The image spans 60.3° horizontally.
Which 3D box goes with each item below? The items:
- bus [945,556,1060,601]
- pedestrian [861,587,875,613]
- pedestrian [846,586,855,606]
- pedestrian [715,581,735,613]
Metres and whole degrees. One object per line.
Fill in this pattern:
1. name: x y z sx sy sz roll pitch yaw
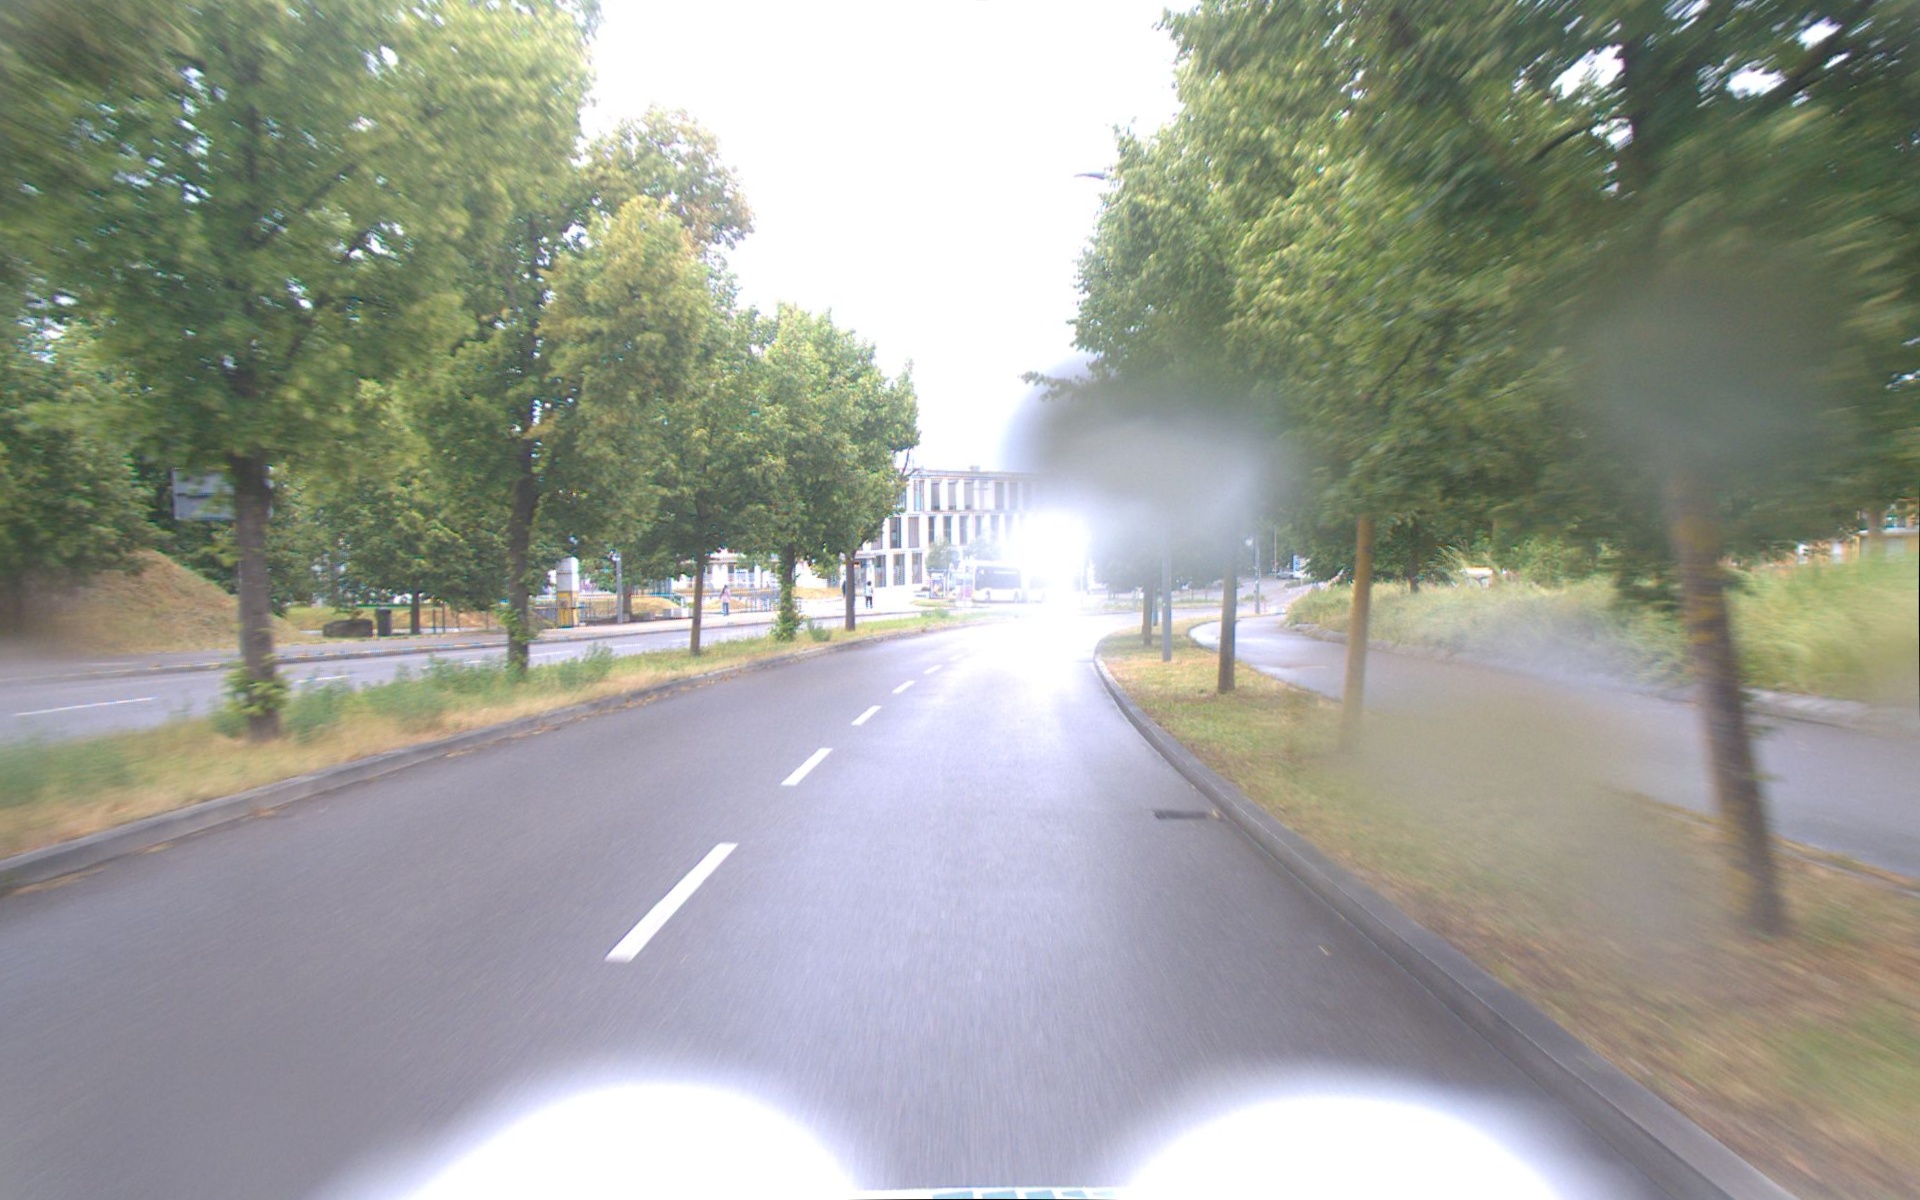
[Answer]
1. bus: 3.888 -1.703 141.609 2.730 3.416 18.211 0 -1 25
2. pedestrian: -5.749 0.025 103.000 0.818 1.601 0.718 0 -1 -6
3. pedestrian: -8.345 -0.293 125.990 0.668 1.551 0.719 0 -1 0
4. pedestrian: -12.149 -0.154 85.557 0.796 1.649 0.936 0 -1 11
